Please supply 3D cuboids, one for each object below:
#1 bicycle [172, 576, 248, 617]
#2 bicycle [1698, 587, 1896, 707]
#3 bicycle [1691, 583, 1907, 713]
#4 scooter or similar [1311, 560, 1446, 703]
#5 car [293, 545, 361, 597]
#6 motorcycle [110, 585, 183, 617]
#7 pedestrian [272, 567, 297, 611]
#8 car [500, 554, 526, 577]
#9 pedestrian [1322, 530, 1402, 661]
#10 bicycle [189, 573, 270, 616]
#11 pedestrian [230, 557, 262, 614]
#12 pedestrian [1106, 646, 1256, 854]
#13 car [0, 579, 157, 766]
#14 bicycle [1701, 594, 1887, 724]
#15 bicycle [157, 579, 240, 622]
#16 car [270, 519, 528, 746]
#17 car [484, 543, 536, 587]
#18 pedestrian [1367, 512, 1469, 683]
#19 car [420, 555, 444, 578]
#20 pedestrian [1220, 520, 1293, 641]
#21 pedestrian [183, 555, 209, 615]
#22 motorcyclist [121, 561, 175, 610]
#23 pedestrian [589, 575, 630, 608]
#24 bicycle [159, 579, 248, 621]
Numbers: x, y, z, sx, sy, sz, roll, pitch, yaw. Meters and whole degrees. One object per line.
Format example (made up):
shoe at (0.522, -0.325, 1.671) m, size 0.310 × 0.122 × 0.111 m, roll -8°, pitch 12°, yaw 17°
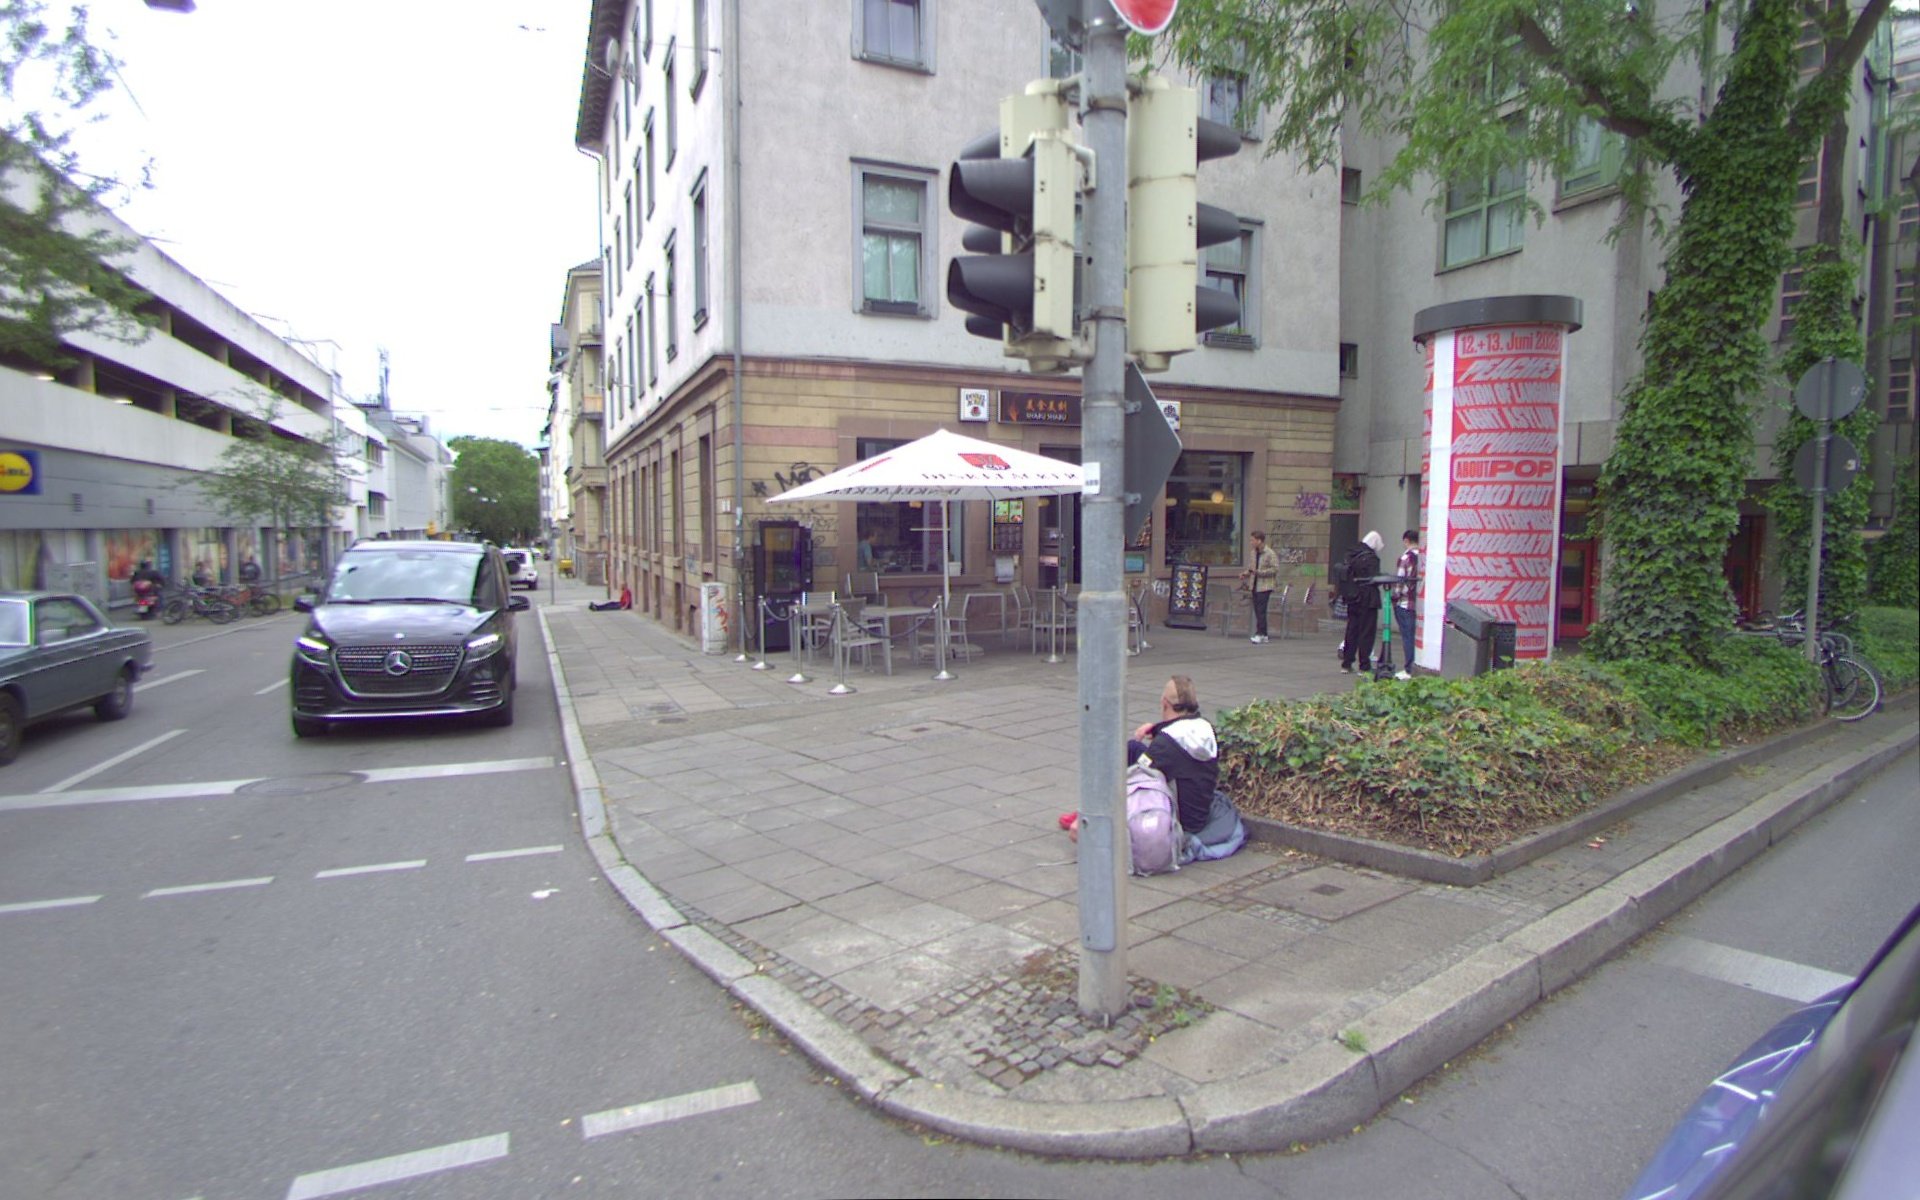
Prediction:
bicycle at (-20.917, -0.085, 28.259) m, size 1.619 × 1.115 × 0.523 m, roll 1°, pitch 1°, yaw -25°
bicycle at (9.738, 0.508, 11.827) m, size 0.533 × 1.236 × 1.689 m, roll 0°, pitch 2°, yaw -44°
bicycle at (9.228, 0.485, 11.189) m, size 0.533 × 1.236 × 1.742 m, roll 0°, pitch 3°, yaw -44°
scooter or similar at (4.107, 0.269, 10.045) m, size 0.618 × 1.269 × 1.393 m, roll 1°, pitch 4°, yaw -5°
car at (-26.549, -1.220, 42.581) m, size 1.838 × 2.039 × 4.008 m, roll 1°, pitch 1°, yaw -24°
motorcycle at (-22.907, 0.001, 28.566) m, size 0.804 × 0.821 × 2.767 m, roll 1°, pitch 1°, yaw -22°
pedestrian at (-26.600, -0.443, 39.854) m, size 0.640 × 1.731 × 0.668 m, roll 1°, pitch 1°, yaw -20°
car at (-40.802, -3.123, 92.443) m, size 1.958 × 2.039 × 4.009 m, roll 1°, pitch 1°, yaw -21°
pedestrian at (4.888, -0.064, 12.314) m, size 0.651 × 1.542 × 0.625 m, roll 1°, pitch 1°, yaw -34°
bicycle at (-21.171, -0.158, 29.368) m, size 1.798 × 1.223 × 0.630 m, roll 1°, pitch 1°, yaw -25°
pedestrian at (-25.923, -0.535, 36.744) m, size 0.759 × 2.039 × 0.856 m, roll 1°, pitch 1°, yaw -24°
pedestrian at (1.131, 0.731, 5.184) m, size 0.572 × 0.921 × 0.485 m, roll -3°, pitch 3°, yaw -37°
car at (-9.024, 0.565, 9.133) m, size 1.725 × 1.373 × 4.602 m, roll -2°, pitch 3°, yaw -25°
bicycle at (8.576, 0.565, 10.446) m, size 0.533 × 1.237 × 1.421 m, roll 0°, pitch 1°, yaw -44°
bicycle at (-19.812, 0.016, 26.353) m, size 1.630 × 1.073 × 0.560 m, roll 1°, pitch 1°, yaw -25°
car at (-5.978, 0.173, 11.351) m, size 1.959 × 1.930 × 5.162 m, roll -2°, pitch 2°, yaw -24°
car at (-22.014, -1.696, 49.627) m, size 2.211 × 2.039 × 4.008 m, roll 1°, pitch 1°, yaw -23°
pedestrian at (5.366, -0.038, 11.857) m, size 0.863 × 1.913 × 0.707 m, roll 1°, pitch 1°, yaw -34°
car at (-47.659, -3.009, 91.332) m, size 1.658 × 2.039 × 3.729 m, roll 1°, pitch 1°, yaw -24°
pedestrian at (4.728, -0.308, 16.187) m, size 0.720 × 1.856 × 0.905 m, roll 1°, pitch 1°, yaw -12°
pedestrian at (-26.216, -0.523, 34.723) m, size 0.588 × 2.039 × 0.573 m, roll 1°, pitch 1°, yaw -24°
motorcyclist at (-22.894, -0.417, 28.545) m, size 0.806 × 1.327 × 1.363 m, roll 1°, pitch 1°, yaw -21°
pedestrian at (-10.315, -0.254, 29.790) m, size 1.098 × 0.950 × 0.901 m, roll 1°, pitch 1°, yaw -20°
bicycle at (-20.193, 0.000, 27.055) m, size 1.798 × 1.075 × 0.735 m, roll 1°, pitch 1°, yaw -25°
